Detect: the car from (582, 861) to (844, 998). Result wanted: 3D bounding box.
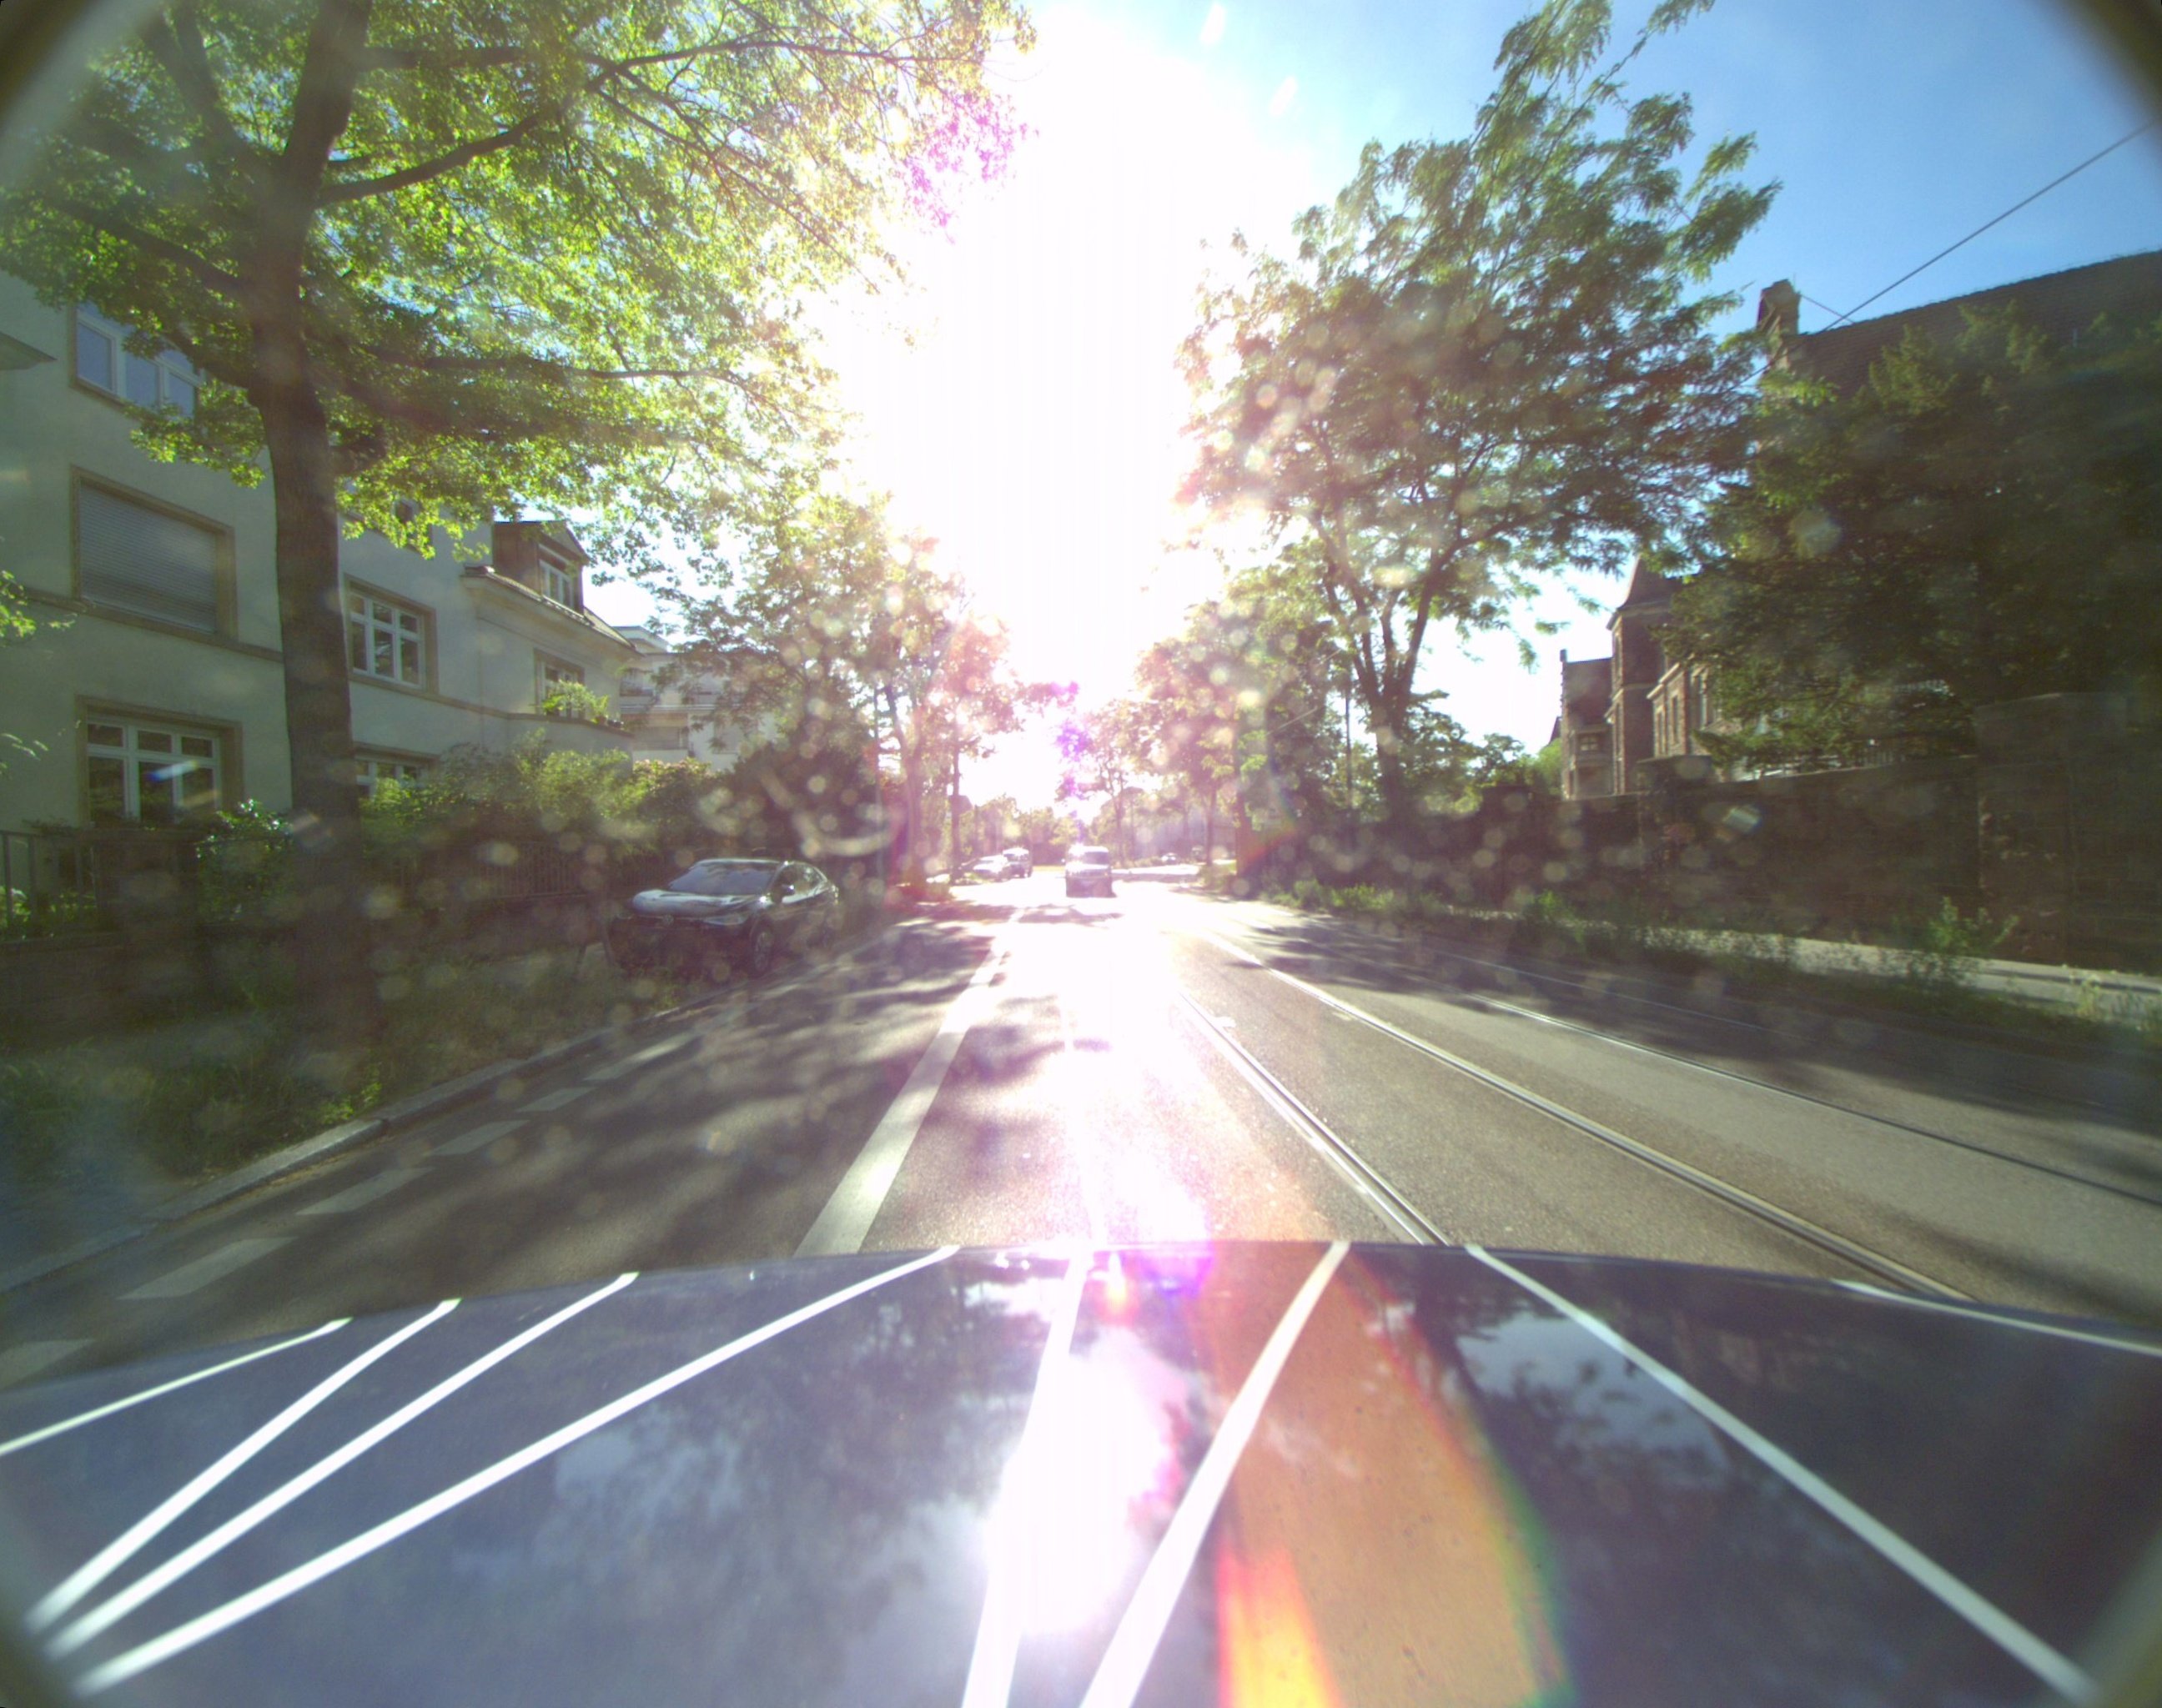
[{"bbox_3d":[-5.208,0.952,11.514,1.919,1.590,4.258,2,0,-1],"label":"car"}]

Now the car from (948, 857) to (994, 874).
[{"bbox_3d":[-10.058,1.054,69.545,3.998,1.433,1.813,-2,0,-3],"label":"car"}]

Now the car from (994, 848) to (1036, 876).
[{"bbox_3d":[-4.416,0.513,51.696,1.900,1.775,4.670,-1,0,6],"label":"car"}]

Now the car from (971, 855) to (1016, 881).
[{"bbox_3d":[-5.178,0.801,45.341,1.901,1.402,4.260,-1,0,4],"label":"car"}]

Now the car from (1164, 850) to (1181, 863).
[{"bbox_3d":[11.896,0.328,98.730,1.997,1.539,4.002,-2,0,8],"label":"car"}]

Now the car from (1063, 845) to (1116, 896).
[{"bbox_3d":[0.339,0.604,30.160,1.877,1.805,4.967,-2,0,1],"label":"car"}]

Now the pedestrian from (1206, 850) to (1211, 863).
[{"bbox_3d":[18.099,0.417,107.875,0.524,1.823,0.587,-1,1,15],"label":"pedestrian"}]
